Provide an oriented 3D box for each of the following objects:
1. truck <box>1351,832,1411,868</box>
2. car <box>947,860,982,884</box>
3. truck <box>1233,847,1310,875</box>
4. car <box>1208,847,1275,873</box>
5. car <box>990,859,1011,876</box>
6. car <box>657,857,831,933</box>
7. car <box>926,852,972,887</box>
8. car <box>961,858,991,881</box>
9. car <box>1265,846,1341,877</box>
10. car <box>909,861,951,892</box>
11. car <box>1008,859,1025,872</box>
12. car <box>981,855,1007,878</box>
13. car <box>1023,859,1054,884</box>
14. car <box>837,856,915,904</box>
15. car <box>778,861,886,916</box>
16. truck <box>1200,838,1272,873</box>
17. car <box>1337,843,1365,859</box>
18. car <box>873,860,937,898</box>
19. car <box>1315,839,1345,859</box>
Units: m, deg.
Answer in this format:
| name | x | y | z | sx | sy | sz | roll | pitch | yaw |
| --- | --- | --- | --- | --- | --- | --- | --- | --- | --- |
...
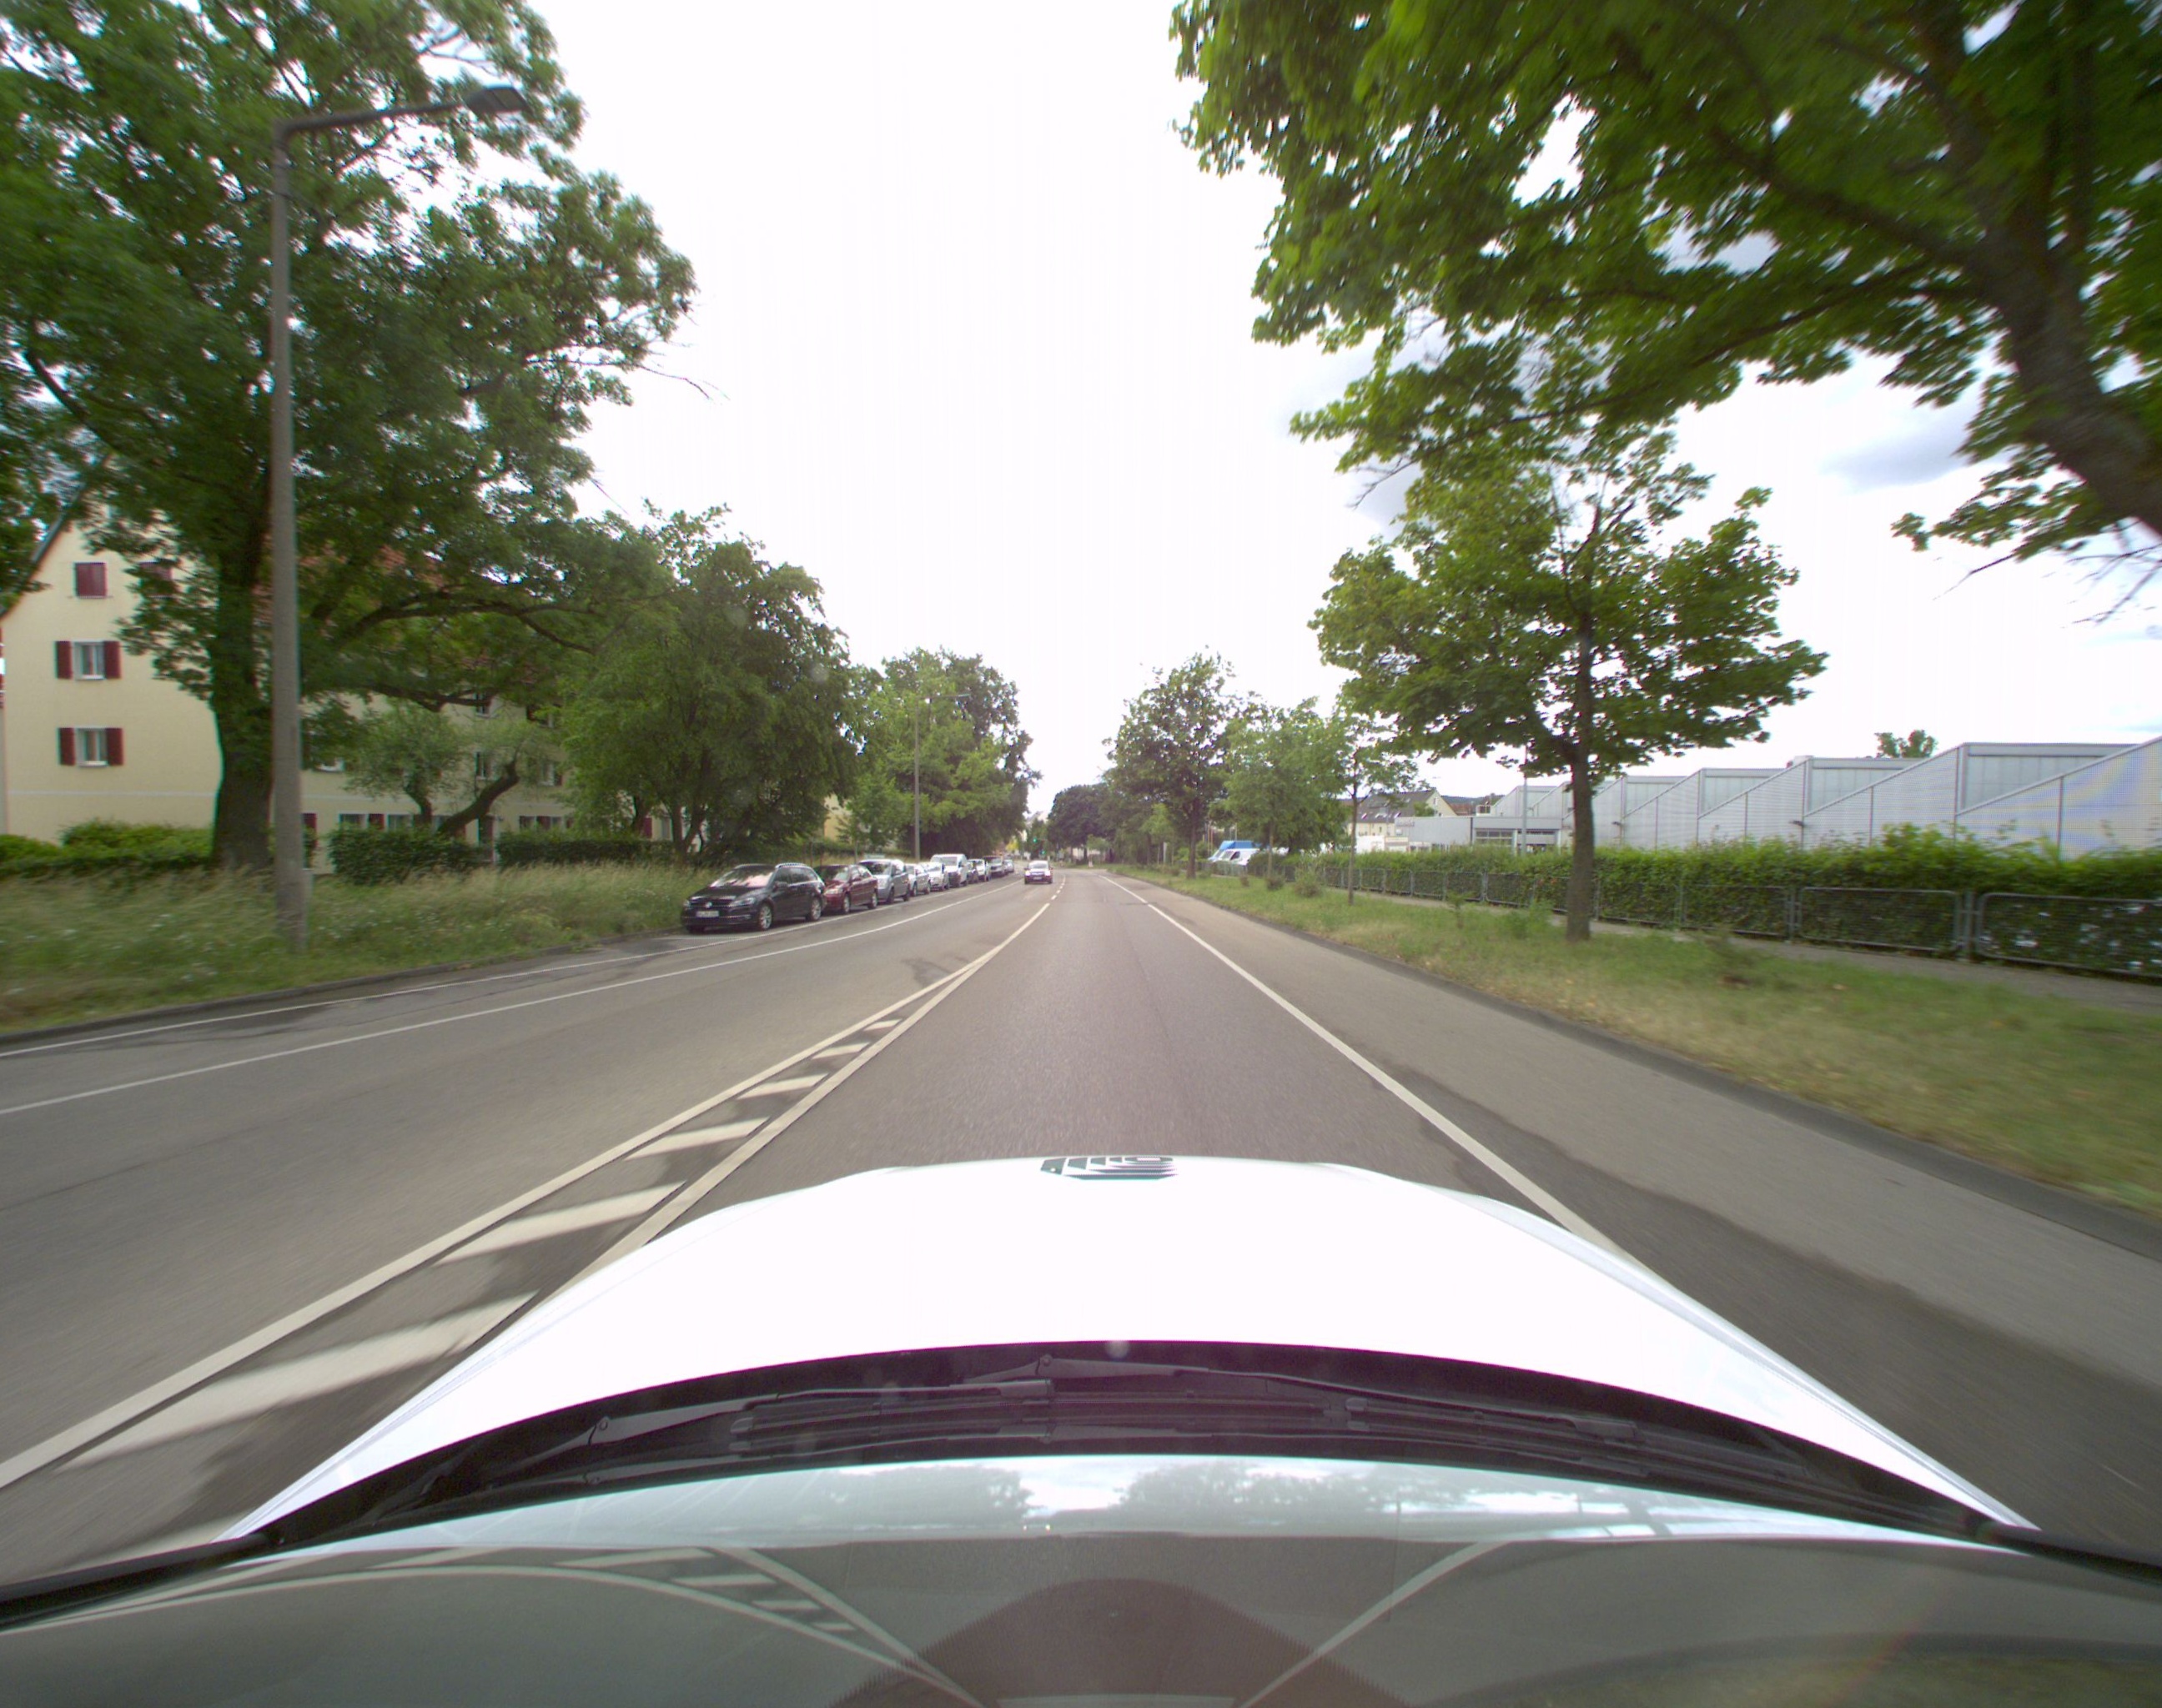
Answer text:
| name | x | y | z | sx | sy | sz | roll | pitch | yaw |
| --- | --- | --- | --- | --- | --- | --- | --- | --- | --- |
| truck | 30.898 | -0.320 | 84.355 | 2.843 | 3.459 | 9.540 | 0 | -1 | 0 |
| car | -7.627 | 1.165 | 53.623 | 1.667 | 1.488 | 4.045 | -2 | -1 | 1 |
| truck | 15.544 | 0.594 | 66.247 | 6.269 | 2.212 | 2.226 | 1 | -1 | -29 |
| car | 15.294 | 0.604 | 77.593 | 6.038 | 2.367 | 2.343 | 1 | -1 | -24 |
| car | -8.089 | 1.374 | 82.199 | 1.761 | 1.633 | 4.155 | -1 | -1 | -1 |
| car | -7.625 | 0.859 | 19.038 | 1.867 | 1.570 | 4.655 | 0 | -1 | 4 |
| car | -7.581 | 0.865 | 47.267 | 1.762 | 1.931 | 5.155 | 0 | 0 | 0 |
| car | -7.466 | 1.124 | 58.414 | 1.668 | 1.564 | 4.278 | -1 | -1 | -1 |
| car | 16.018 | 0.547 | 58.719 | 5.271 | 2.188 | 2.054 | 1 | -1 | -26 |
| car | -7.616 | 1.100 | 41.298 | 1.631 | 1.433 | 3.945 | 0 | 0 | -4 |
| car | -7.932 | 1.436 | 100.288 | 1.762 | 1.573 | 4.755 | -1 | -1 | -2 |
| car | -7.744 | 1.110 | 72.899 | 1.861 | 1.963 | 5.123 | -1 | -1 | -2 |
| car | -2.667 | 1.077 | 51.899 | 1.631 | 1.467 | 4.001 | -2 | -1 | 1 |
| car | -7.344 | 0.893 | 29.548 | 1.762 | 1.592 | 4.134 | -1 | 0 | 0 |
| car | -7.288 | 0.964 | 24.303 | 1.760 | 1.447 | 4.152 | -1 | 0 | 3 |
| truck | 16.306 | 0.122 | 85.621 | 7.199 | 3.477 | 2.597 | -1 | 0 | -25 |
| car | 37.825 | -0.442 | 114.042 | 2.038 | 1.955 | 4.529 | 0 | 2 | 40 |
| car | -7.776 | 1.068 | 36.404 | 1.761 | 1.495 | 4.358 | -2 | 0 | 2 |
| car | 35.256 | -0.763 | 115.344 | 2.233 | 2.676 | 5.485 | 0 | 2 | 38 |
